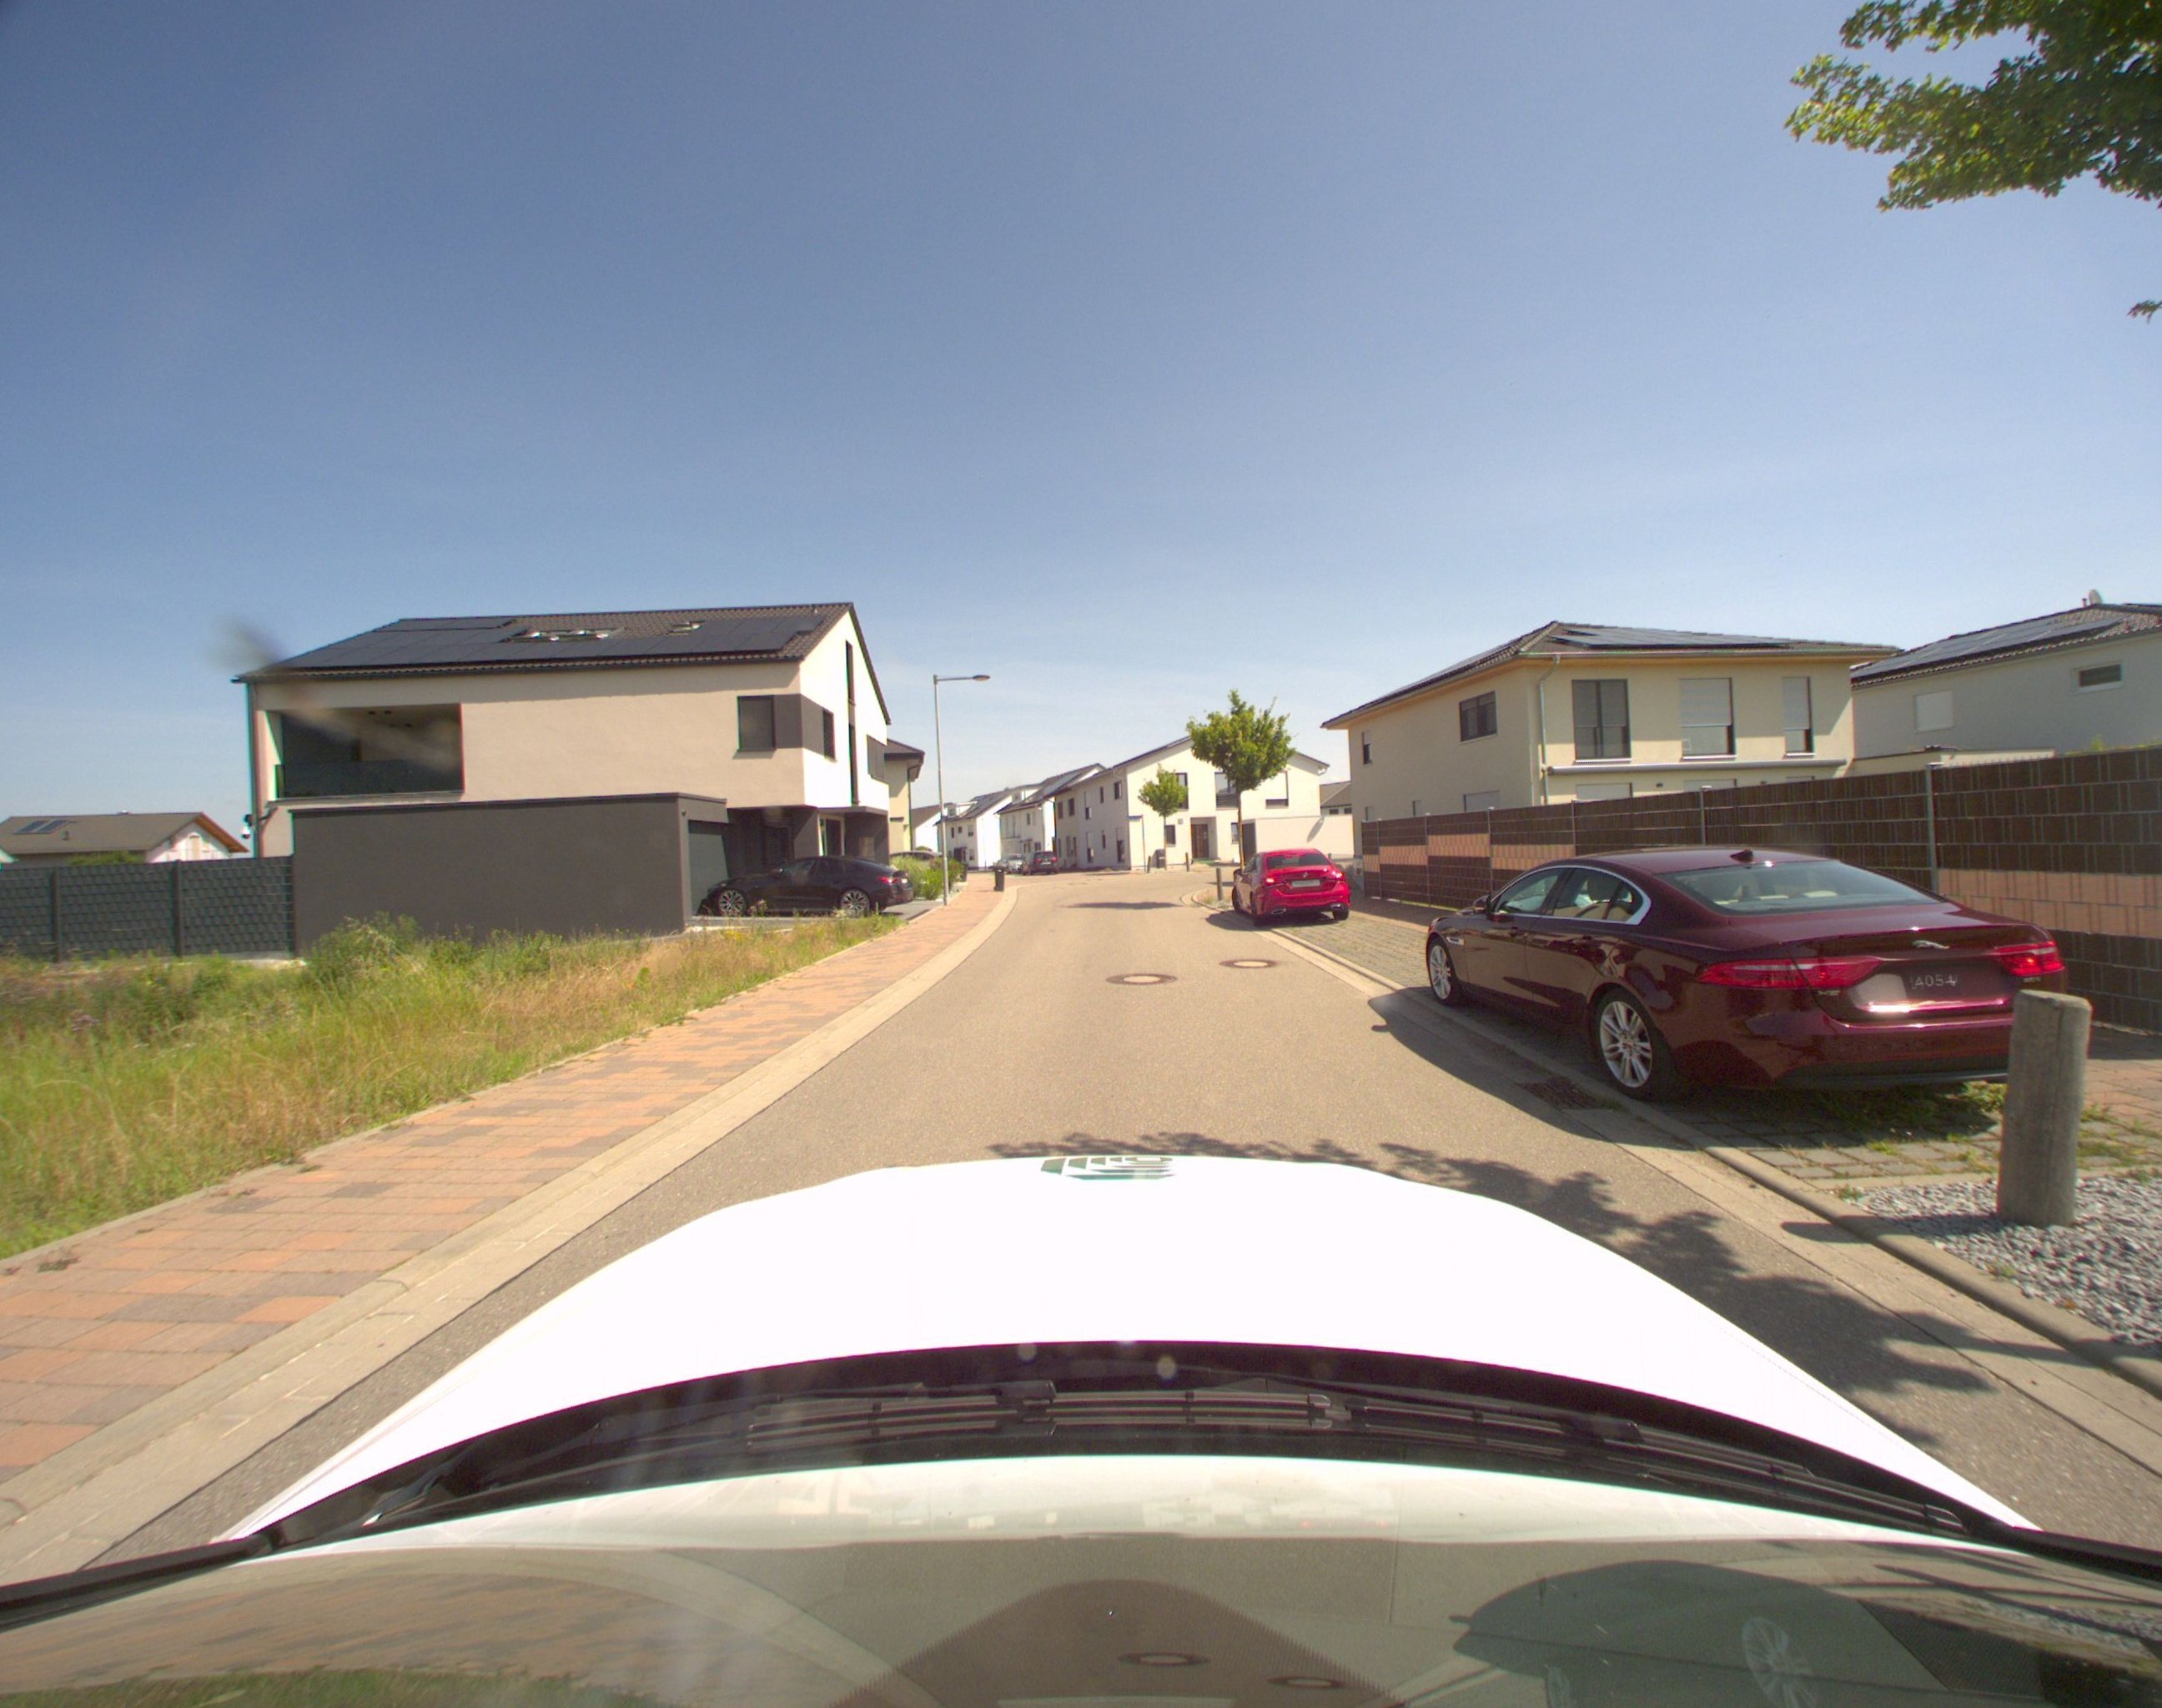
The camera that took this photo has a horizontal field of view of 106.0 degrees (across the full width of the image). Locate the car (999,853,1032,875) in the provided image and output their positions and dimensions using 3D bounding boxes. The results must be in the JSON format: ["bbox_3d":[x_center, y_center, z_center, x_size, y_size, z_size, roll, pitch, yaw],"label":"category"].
[{"bbox_3d":[-4.759,0.715,58.995,1.680,1.464,3.925,-3,0,-14],"label":"car"}]

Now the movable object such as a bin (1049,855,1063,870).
[{"bbox_3d":[-1.801,0.632,59.294,0.786,1.049,0.800,-5,1,-17],"label":"movable object such as a bin"}]

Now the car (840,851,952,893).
[{"bbox_3d":[-7.321,0.677,32.431,3.972,1.486,1.755,-2,0,1],"label":"car"}]

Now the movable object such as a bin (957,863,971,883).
[{"bbox_3d":[-5.480,0.881,38.172,0.615,0.927,0.422,0,-1,-11],"label":"movable object such as a bin"}]

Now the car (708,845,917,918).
[{"bbox_3d":[-6.252,0.623,19.325,4.362,1.631,1.770,0,0,-1],"label":"car"}]

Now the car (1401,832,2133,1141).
[{"bbox_3d":[4.086,0.612,6.089,1.747,1.363,4.579,-3,0,3],"label":"car"}]

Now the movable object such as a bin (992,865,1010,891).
[{"bbox_3d":[-2.896,0.865,29.608,0.531,0.936,0.527,-1,0,9],"label":"movable object such as a bin"}]

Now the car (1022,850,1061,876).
[{"bbox_3d":[-2.427,0.517,49.487,1.728,1.422,3.984,-3,0,-12],"label":"car"}]

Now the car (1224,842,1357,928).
[{"bbox_3d":[4.195,0.557,17.029,1.755,1.438,4.523,-4,0,3],"label":"car"}]
